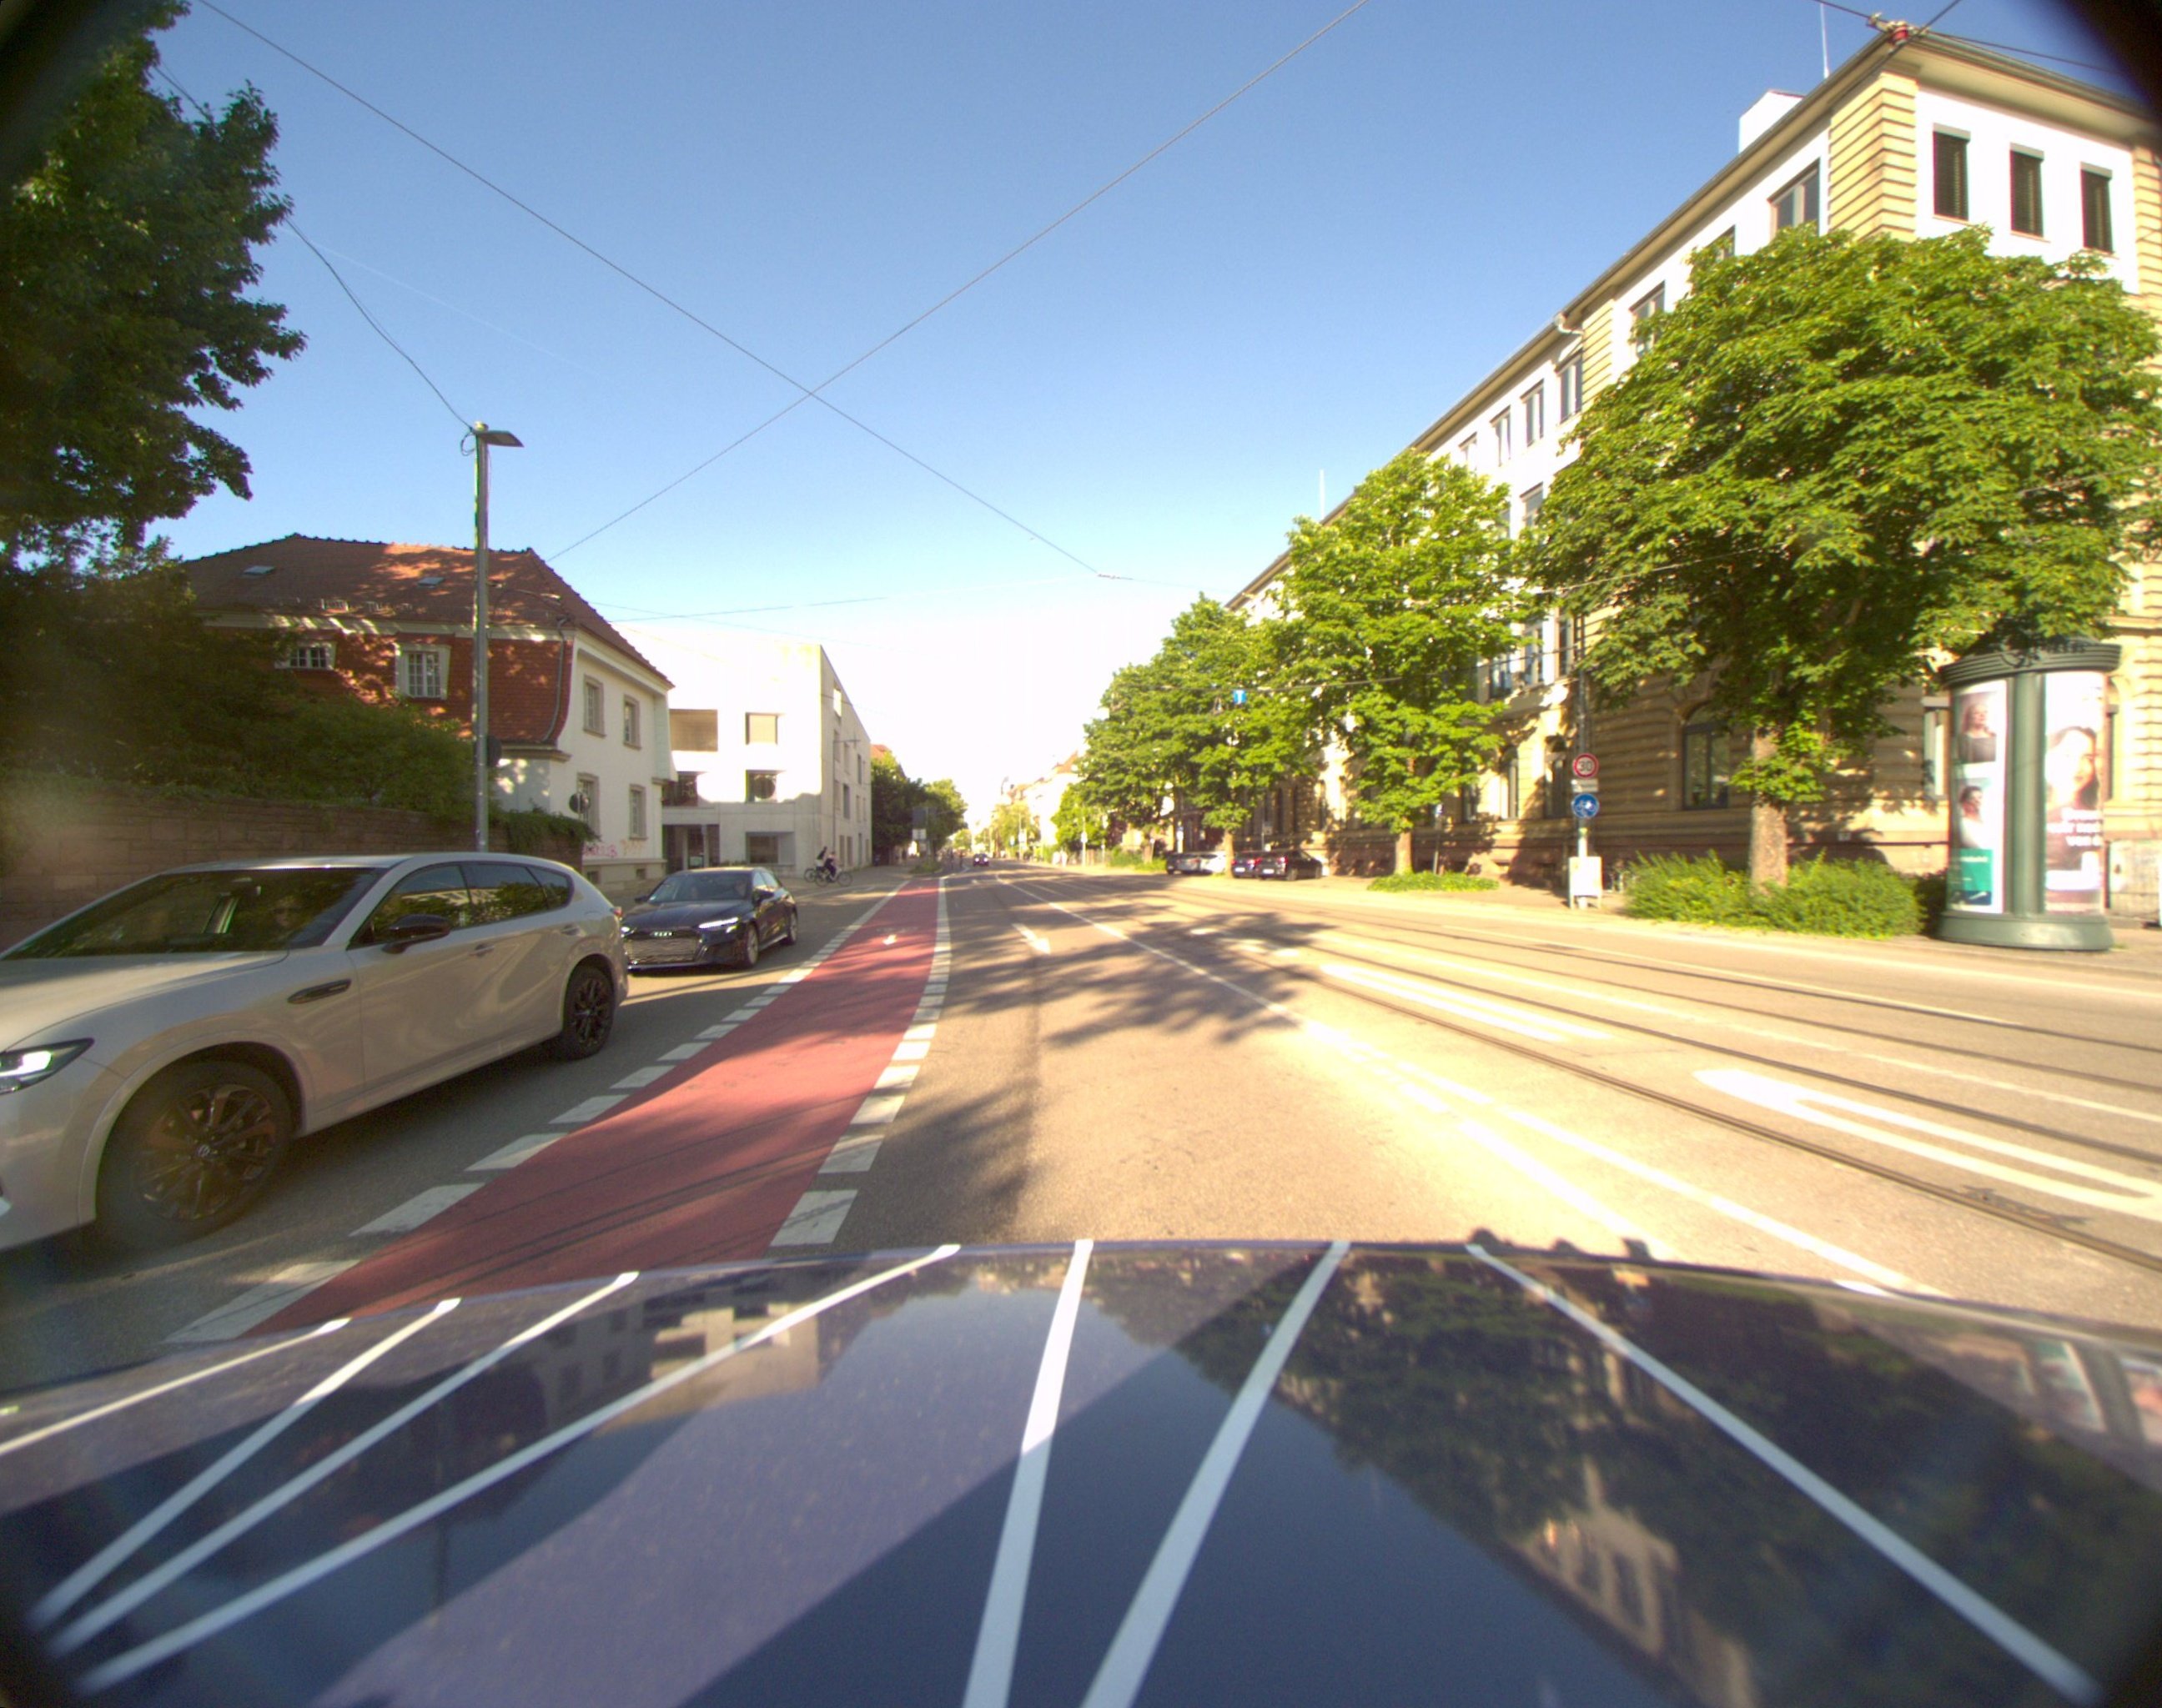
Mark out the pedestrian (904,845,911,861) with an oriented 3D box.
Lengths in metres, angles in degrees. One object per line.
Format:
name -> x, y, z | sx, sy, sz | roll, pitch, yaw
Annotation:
pedestrian -> -18.070, -0.095, 79.094 | 0.676, 1.638, 0.817 | -1, 1, -9

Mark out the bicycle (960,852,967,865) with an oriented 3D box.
bicycle -> -11.493, 0.430, 74.446 | 0.676, 1.243, 2.454 | 0, 1, -8

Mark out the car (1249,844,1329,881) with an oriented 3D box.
car -> 10.384, 0.400, 37.753 | 4.189, 1.621, 1.841 | -3, 1, -43

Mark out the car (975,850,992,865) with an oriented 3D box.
car -> -10.768, 0.357, 84.021 | 1.649, 1.552, 3.648 | -2, 1, -5

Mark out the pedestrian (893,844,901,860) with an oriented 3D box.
pedestrian -> -19.082, -0.224, 78.903 | 0.676, 1.638, 0.817 | -1, 1, -9

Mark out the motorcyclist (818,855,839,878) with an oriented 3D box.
motorcyclist -> -13.610, 0.677, 41.012 | 0.674, 1.243, 0.855 | 1, 1, 44

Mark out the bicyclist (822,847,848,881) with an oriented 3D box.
bicyclist -> -11.965, 0.479, 36.966 | 1.031, 1.638, 0.674 | -1, 1, -34

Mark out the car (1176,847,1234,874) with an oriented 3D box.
car -> 7.913, 0.382, 48.359 | 3.657, 1.552, 1.645 | -3, 1, -43

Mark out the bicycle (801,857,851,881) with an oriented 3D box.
bicycle -> -13.708, 0.799, 40.912 | 0.674, 1.243, 2.462 | 1, 1, 44

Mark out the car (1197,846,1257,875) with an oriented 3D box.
car -> 8.891, 0.381, 46.128 | 3.657, 1.552, 1.645 | -3, 1, -43

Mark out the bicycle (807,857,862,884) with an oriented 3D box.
bicycle -> -11.974, 0.805, 36.964 | 2.461, 1.243, 0.674 | -1, 1, -35

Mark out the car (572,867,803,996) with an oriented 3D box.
car -> -5.620, 0.995, 11.480 | 1.789, 1.425, 3.997 | -2, 1, -8

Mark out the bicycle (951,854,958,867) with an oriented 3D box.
bicycle -> -12.444, 0.603, 74.671 | 0.676, 1.243, 2.454 | 0, 1, -8

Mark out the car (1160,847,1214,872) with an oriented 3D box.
car -> 7.237, 0.353, 51.770 | 3.657, 1.552, 1.645 | -3, 1, -43

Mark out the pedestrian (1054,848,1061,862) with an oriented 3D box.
pedestrian -> -2.681, 0.120, 86.770 | 0.676, 1.638, 0.817 | -1, 1, -9

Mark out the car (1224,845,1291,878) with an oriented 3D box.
car -> 9.420, 0.383, 40.413 | 3.657, 1.552, 1.645 | -3, 1, -43

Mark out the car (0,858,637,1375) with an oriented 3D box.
car -> -4.805, 0.935, 4.472 | 1.946, 1.682, 4.529 | -2, 1, -5

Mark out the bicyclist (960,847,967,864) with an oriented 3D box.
bicyclist -> -11.486, 0.118, 74.398 | 0.676, 1.638, 1.028 | 0, 1, -8

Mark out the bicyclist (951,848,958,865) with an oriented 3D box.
bicyclist -> -12.441, 0.207, 74.656 | 0.676, 1.638, 1.028 | 0, 1, -8
